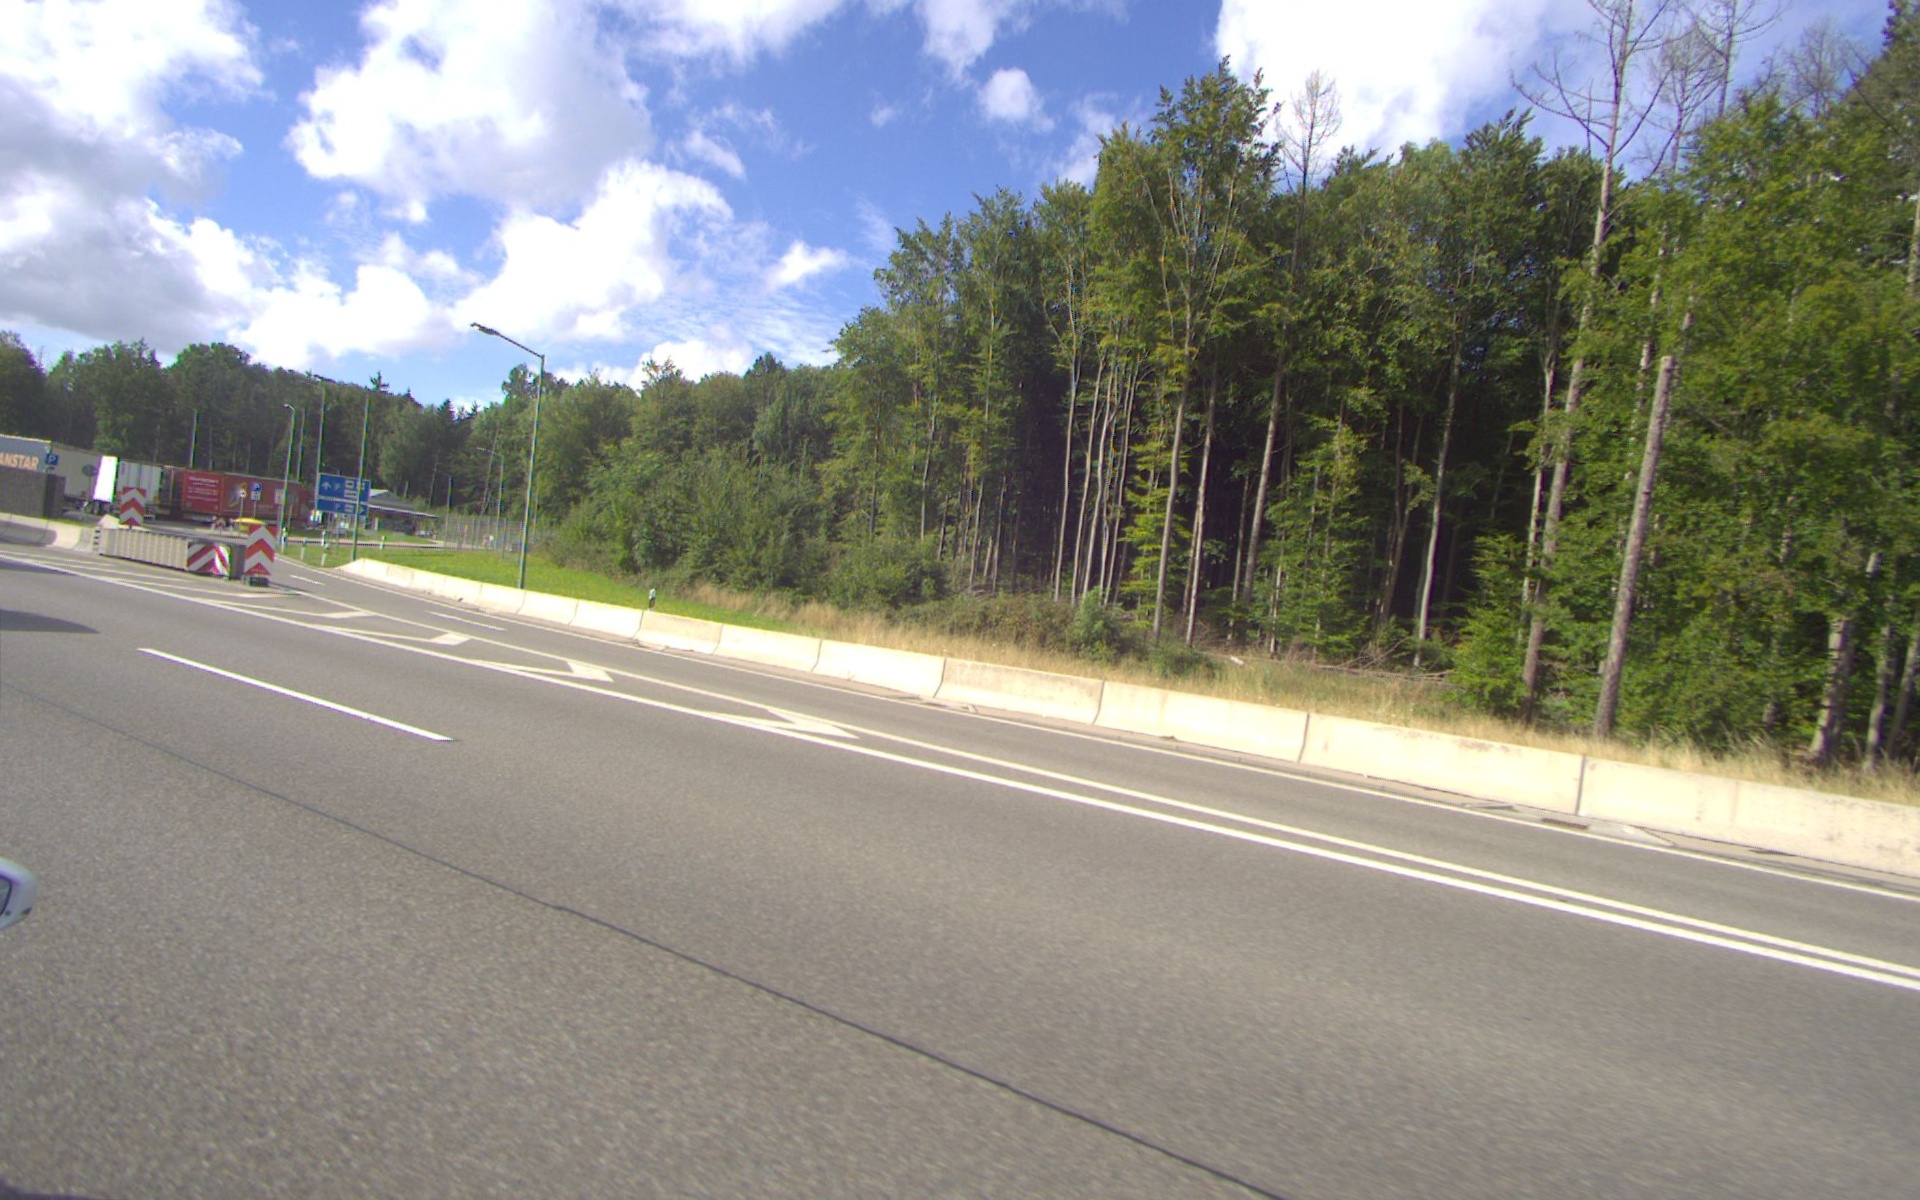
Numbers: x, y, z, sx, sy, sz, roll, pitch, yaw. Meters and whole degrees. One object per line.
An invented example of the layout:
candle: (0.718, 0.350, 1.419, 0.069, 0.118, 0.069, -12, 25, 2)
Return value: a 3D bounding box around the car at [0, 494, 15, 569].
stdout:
car: (-21.999, -1.645, 21.204, 4.228, 1.530, 1.718, 6, -1, 29)
